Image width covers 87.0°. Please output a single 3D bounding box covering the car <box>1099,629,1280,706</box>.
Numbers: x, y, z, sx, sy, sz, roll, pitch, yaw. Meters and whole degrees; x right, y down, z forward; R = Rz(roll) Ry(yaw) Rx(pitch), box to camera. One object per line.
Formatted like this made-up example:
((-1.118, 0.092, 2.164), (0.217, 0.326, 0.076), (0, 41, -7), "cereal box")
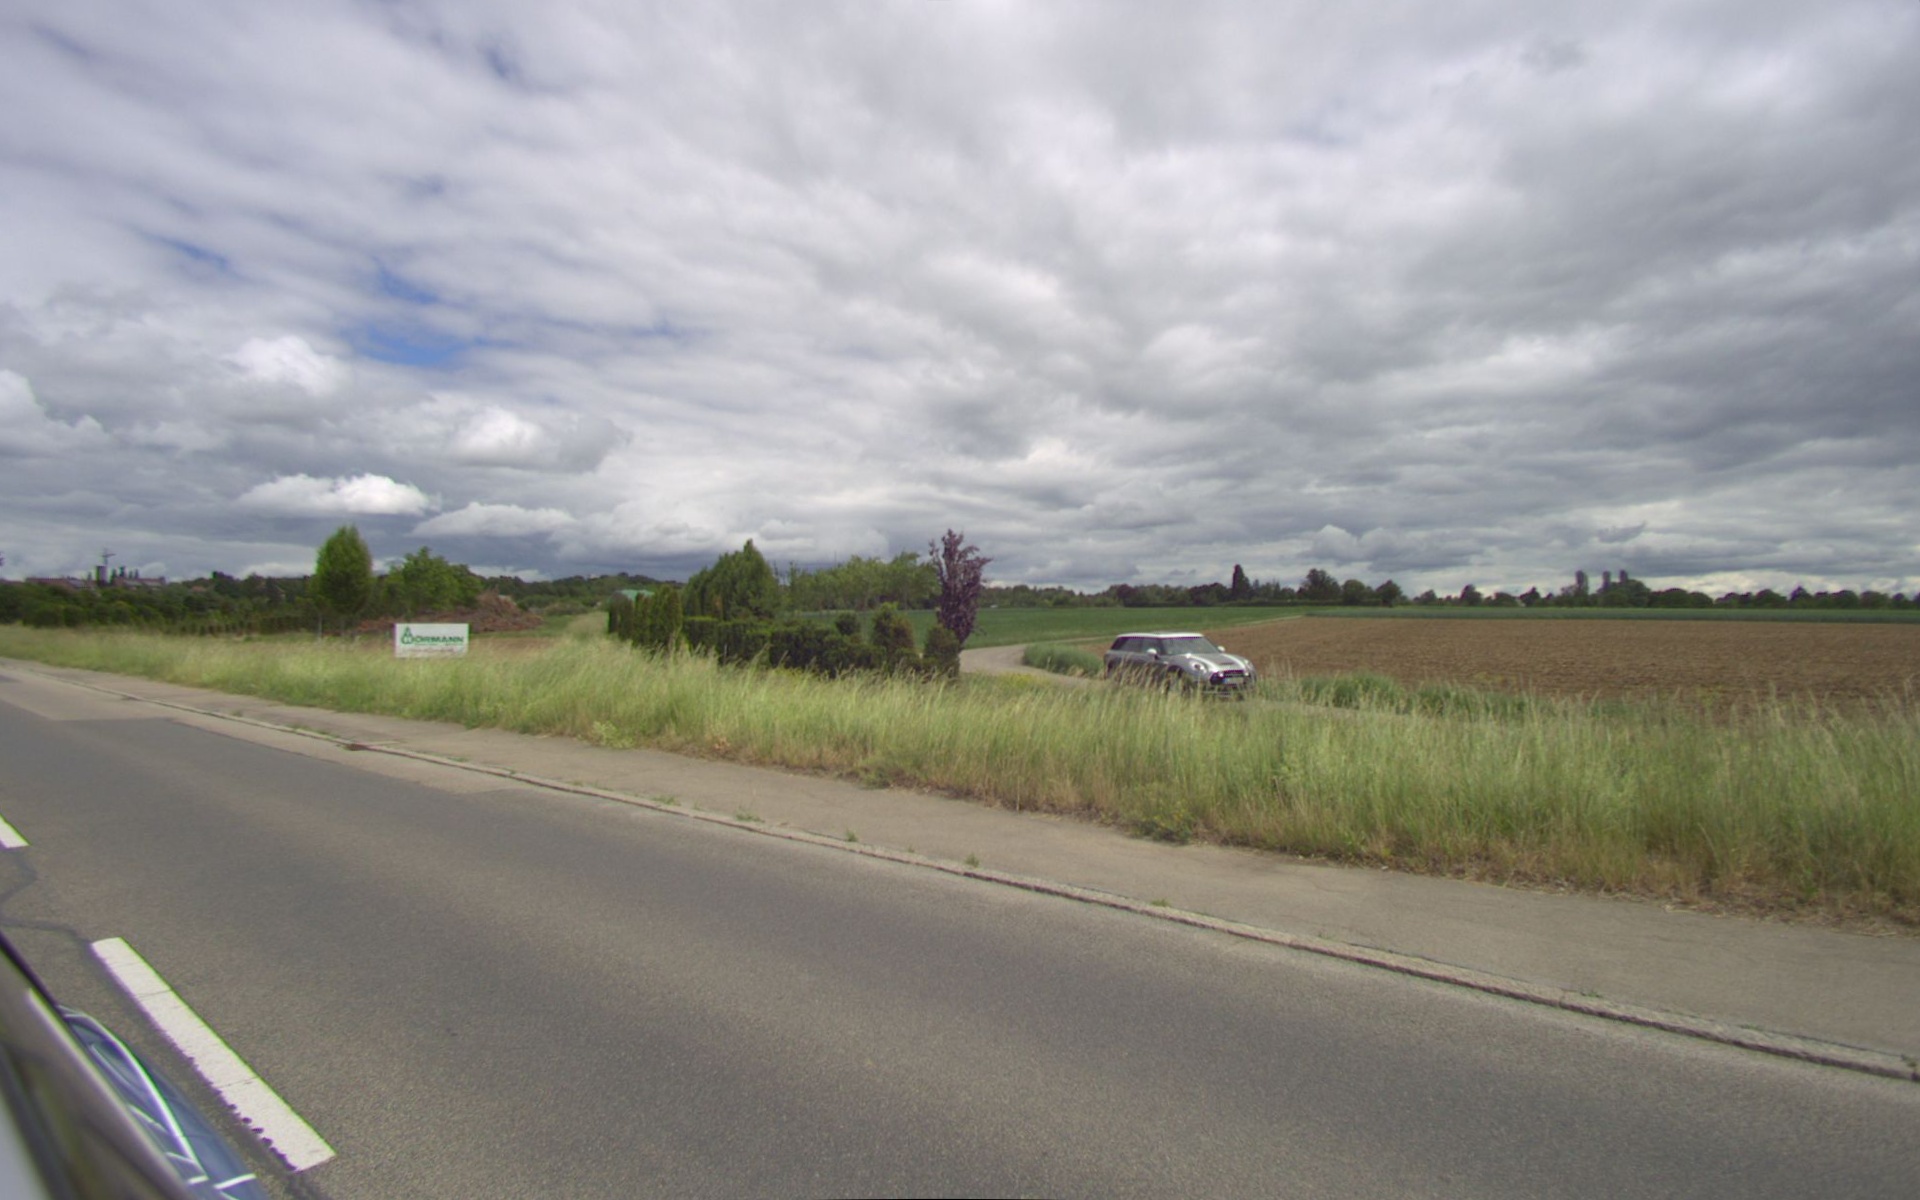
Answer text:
((4.936, 1.398, 22.342), (1.941, 1.464, 4.013), (0, -1, -22), "car")
